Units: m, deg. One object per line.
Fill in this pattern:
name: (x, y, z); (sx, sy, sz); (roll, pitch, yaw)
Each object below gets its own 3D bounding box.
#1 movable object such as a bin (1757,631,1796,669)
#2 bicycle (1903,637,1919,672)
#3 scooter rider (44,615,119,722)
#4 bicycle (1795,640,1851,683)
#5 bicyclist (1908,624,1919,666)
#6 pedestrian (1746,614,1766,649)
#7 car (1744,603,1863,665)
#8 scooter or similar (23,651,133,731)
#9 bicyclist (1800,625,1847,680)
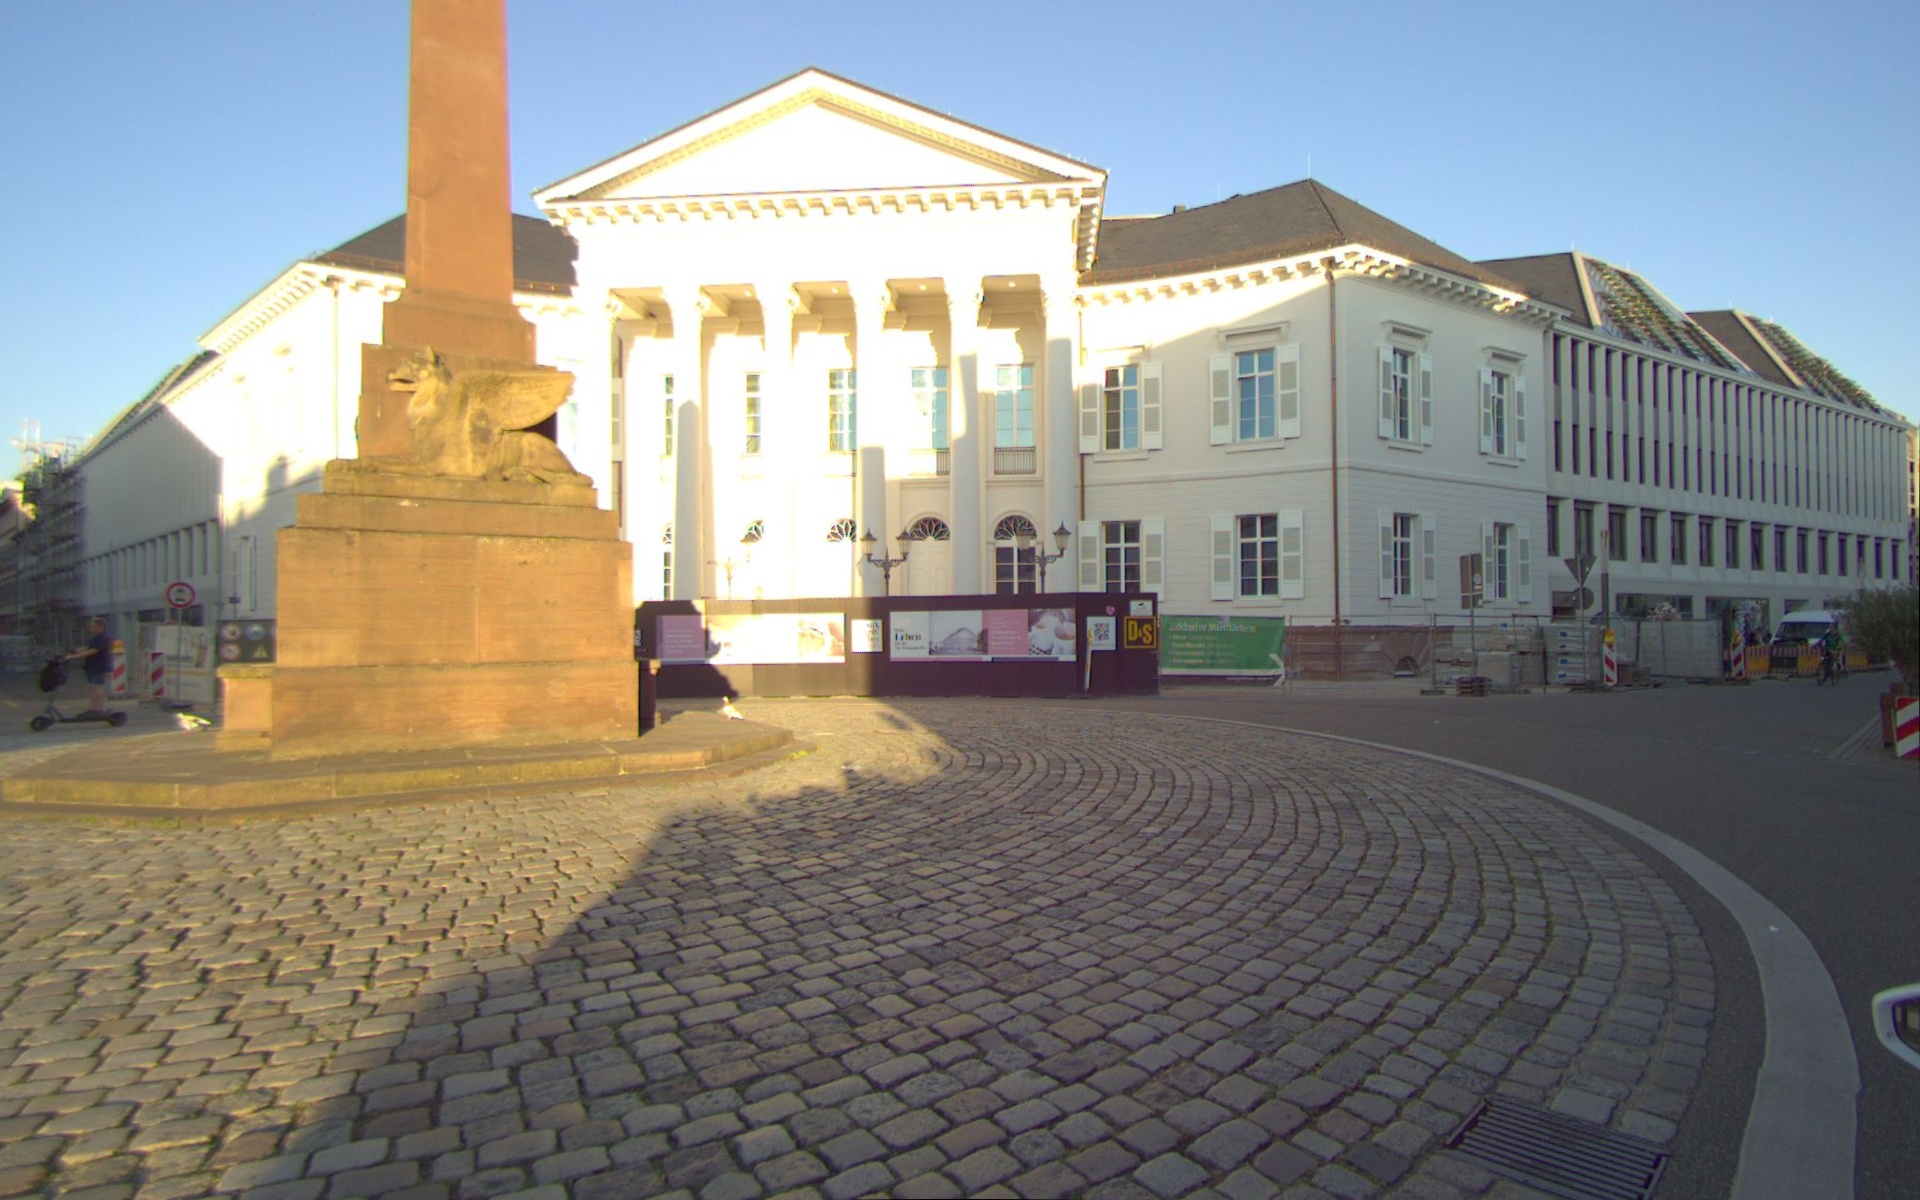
movable object such as a bin: (32.889, 1.999, 40.449); (1.384, 1.485, 1.033); (1, -2, -44)
bicycle: (36.133, 2.027, 37.592); (2.211, 1.233, 0.791); (1, -2, -35)
scooter rider: (-15.177, 1.159, 17.377); (0.900, 1.786, 0.679); (1, -2, -35)
bicycle: (25.898, 1.824, 30.131); (2.212, 1.233, 0.791); (1, -2, -37)
bicyclist: (36.165, 1.668, 37.602); (0.964, 1.552, 0.791); (1, -2, -35)
pedestrian: (36.341, 1.436, 45.878); (0.573, 1.598, 0.539); (1, -2, -34)
car: (36.117, 1.443, 42.979); (5.932, 2.503, 2.162); (1, -2, -32)
scooter or similar: (-15.196, 1.540, 17.343); (1.346, 1.288, 0.681); (1, -2, -36)
bicyclist: (25.902, 1.556, 30.141); (1.219, 1.624, 0.791); (1, -2, -37)
